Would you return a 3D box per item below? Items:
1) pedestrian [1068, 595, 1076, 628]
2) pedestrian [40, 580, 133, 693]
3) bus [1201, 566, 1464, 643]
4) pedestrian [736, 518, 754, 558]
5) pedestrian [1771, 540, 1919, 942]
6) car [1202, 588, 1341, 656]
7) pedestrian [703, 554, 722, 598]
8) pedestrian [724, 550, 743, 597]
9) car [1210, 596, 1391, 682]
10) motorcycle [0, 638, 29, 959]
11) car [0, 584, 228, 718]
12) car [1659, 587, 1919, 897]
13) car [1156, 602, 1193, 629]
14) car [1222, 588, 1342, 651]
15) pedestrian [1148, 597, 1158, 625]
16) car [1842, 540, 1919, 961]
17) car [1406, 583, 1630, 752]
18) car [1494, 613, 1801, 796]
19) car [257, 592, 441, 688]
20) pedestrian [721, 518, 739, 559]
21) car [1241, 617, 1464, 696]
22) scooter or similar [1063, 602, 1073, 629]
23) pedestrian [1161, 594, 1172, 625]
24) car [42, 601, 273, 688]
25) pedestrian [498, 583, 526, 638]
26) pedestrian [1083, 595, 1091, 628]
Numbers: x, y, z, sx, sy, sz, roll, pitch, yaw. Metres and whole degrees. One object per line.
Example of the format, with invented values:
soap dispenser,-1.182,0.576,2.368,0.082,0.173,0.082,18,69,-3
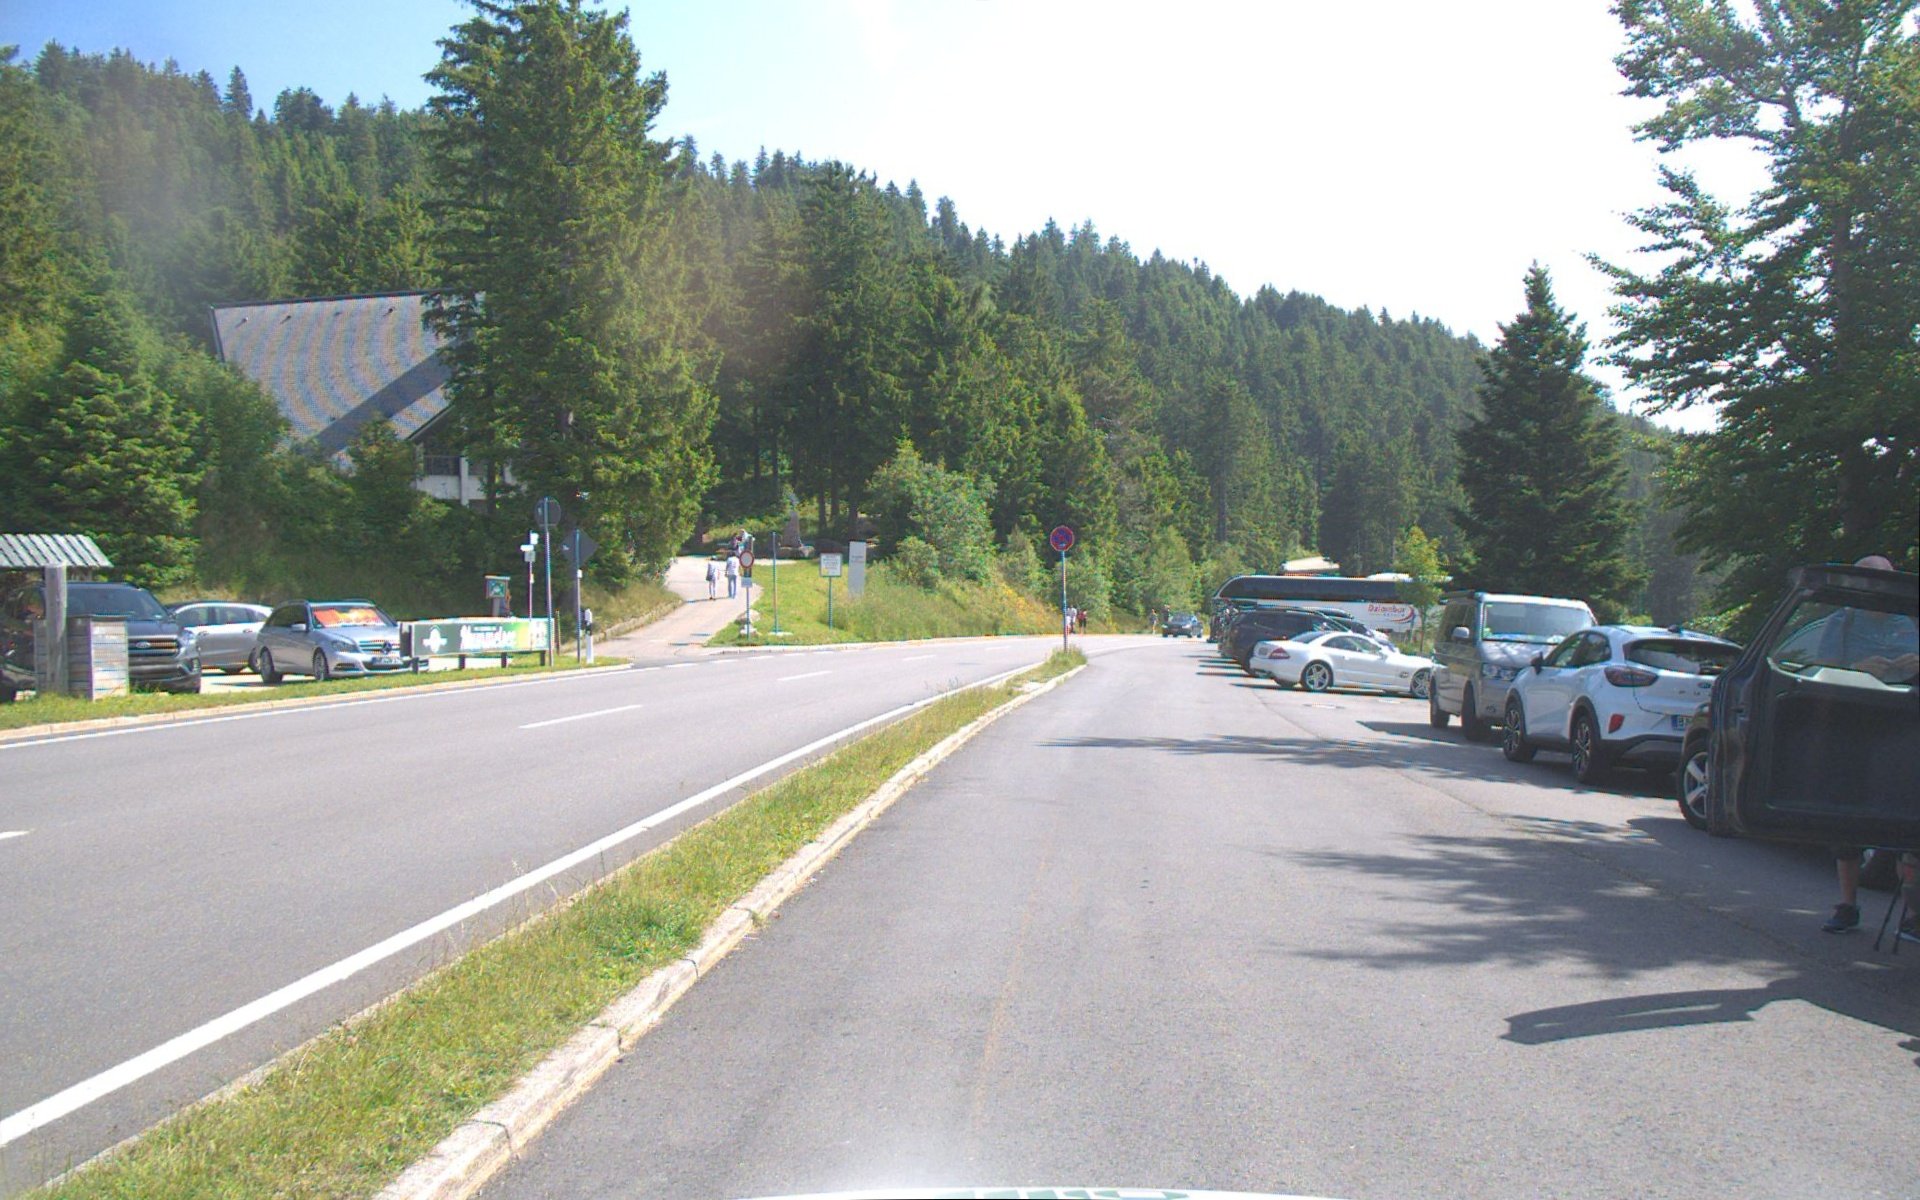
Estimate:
pedestrian,6.227,0.644,92.071,0.406,1.777,0.457,-1,1,5
pedestrian,-14.108,0.574,26.741,0.877,1.764,0.961,-2,1,5
bus,18.657,0.143,83.174,12.599,3.640,2.982,1,2,23
pedestrian,-11.070,-3.201,85.306,0.799,2.048,0.853,-2,1,-3
pedestrian,4.287,0.639,7.718,0.620,1.791,0.579,3,0,-10
car,9.439,0.644,50.372,3.903,1.749,1.869,4,2,6
pedestrian,-9.602,-0.925,64.207,0.639,1.696,0.643,-1,-1,-1
pedestrian,-8.878,-1.034,64.766,0.639,1.831,0.643,-1,-1,-1
car,8.267,0.932,40.408,3.907,1.728,2.000,4,1,-2
motorcycle,-4.092,0.752,5.257,0.804,1.197,2.288,0,0,5
car,-11.690,0.644,22.613,1.776,1.662,4.142,0,0,-44
car,6.202,0.831,10.782,1.707,1.660,4.311,4,0,5
car,13.644,0.979,105.153,1.951,1.691,4.004,0,0,13
car,11.146,0.658,57.485,3.903,1.845,1.941,4,2,8
pedestrian,13.275,0.753,113.904,0.609,1.933,0.655,-1,-2,5
car,5.934,0.756,6.790,3.931,1.691,1.987,5,-1,-22
car,7.718,0.849,23.372,1.865,2.006,4.823,4,1,6
car,6.881,0.969,17.013,1.644,1.544,4.051,4,0,4
car,-10.634,0.661,28.656,1.728,1.466,3.911,-3,1,-40
pedestrian,-11.939,-3.182,85.779,0.781,2.048,0.940,-2,1,-3
car,8.447,1.213,35.729,4.373,1.321,1.578,4,0,-11
scooter or similar,5.985,0.859,91.445,0.472,1.404,0.818,-1,1,5
pedestrian,14.081,0.645,112.746,0.717,2.049,0.863,-1,-2,5
car,-16.522,0.865,34.172,3.971,1.520,1.657,-3,3,-45
pedestrian,-13.088,0.304,48.328,0.565,1.559,0.553,-2,1,5
pedestrian,7.030,0.629,91.754,0.386,1.777,0.406,-1,1,5
